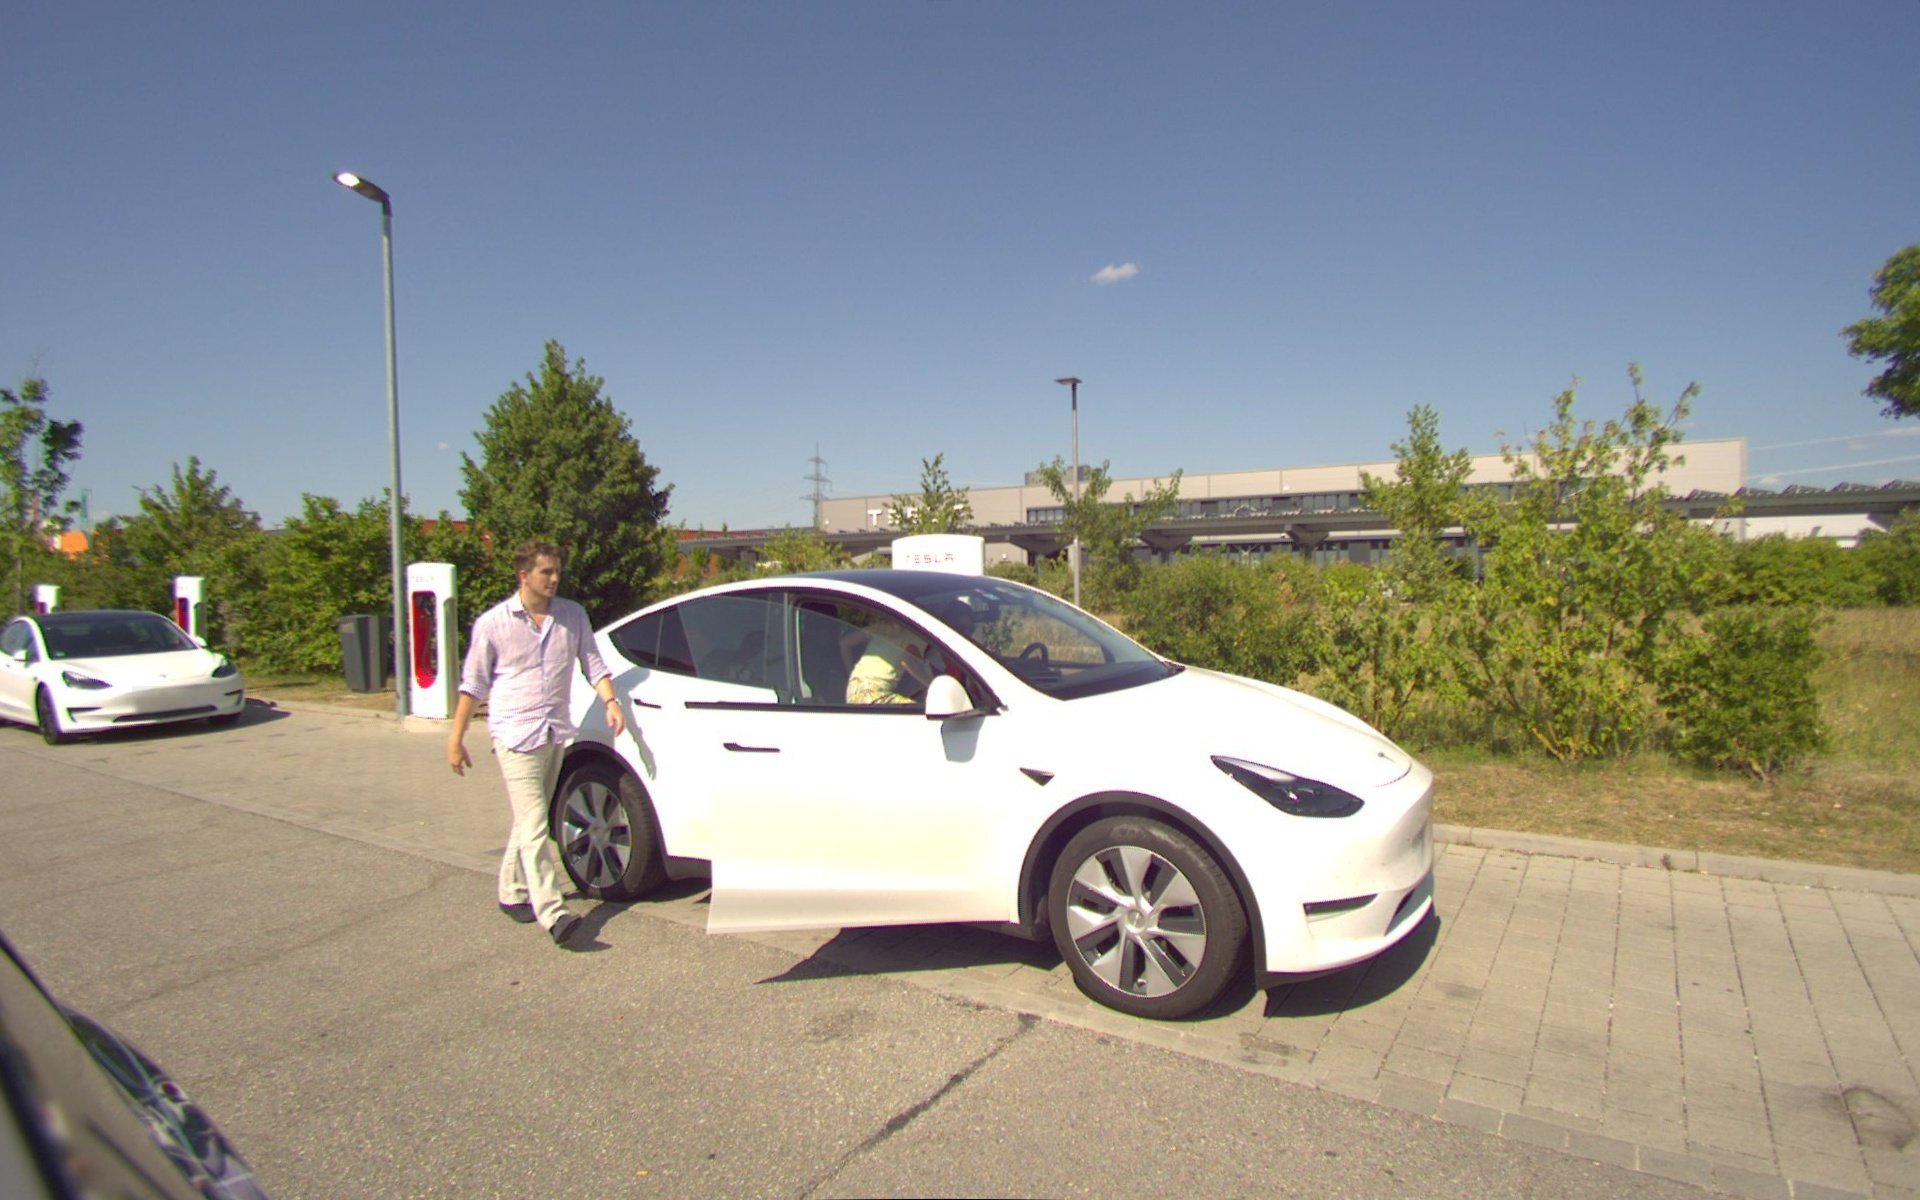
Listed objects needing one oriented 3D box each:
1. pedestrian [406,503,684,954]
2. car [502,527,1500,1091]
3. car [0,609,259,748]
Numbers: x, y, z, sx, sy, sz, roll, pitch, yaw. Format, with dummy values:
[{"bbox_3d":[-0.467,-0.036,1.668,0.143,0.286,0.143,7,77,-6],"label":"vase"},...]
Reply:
[{"bbox_3d":[-1.922,0.515,4.676,1.034,1.814,0.727,-1,1,39],"label":"pedestrian"},{"bbox_3d":[-0.001,0.599,4.878,4.474,1.612,1.850,-1,1,32],"label":"car"},{"bbox_3d":[-10.688,0.856,12.495,4.436,1.388,1.802,-1,1,34],"label":"car"}]
